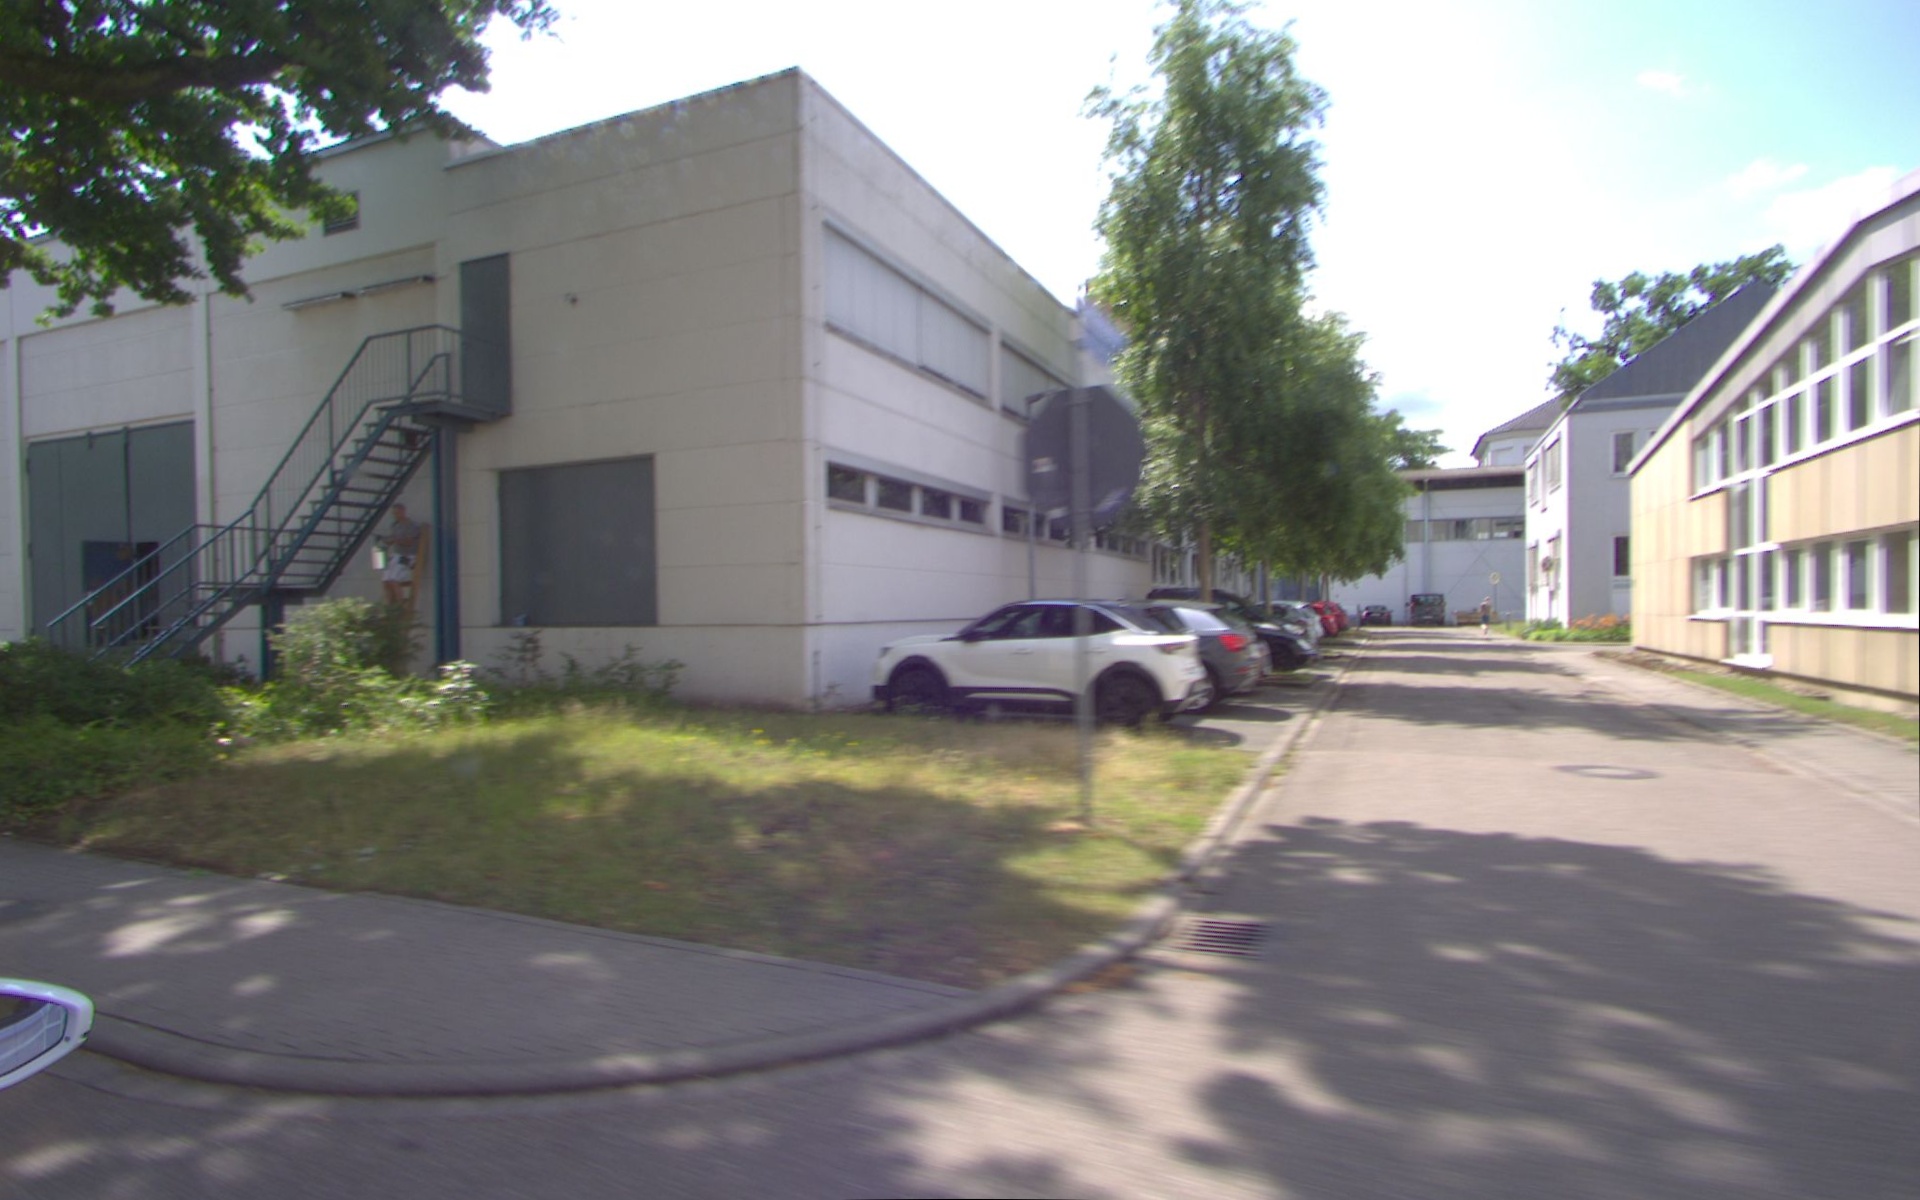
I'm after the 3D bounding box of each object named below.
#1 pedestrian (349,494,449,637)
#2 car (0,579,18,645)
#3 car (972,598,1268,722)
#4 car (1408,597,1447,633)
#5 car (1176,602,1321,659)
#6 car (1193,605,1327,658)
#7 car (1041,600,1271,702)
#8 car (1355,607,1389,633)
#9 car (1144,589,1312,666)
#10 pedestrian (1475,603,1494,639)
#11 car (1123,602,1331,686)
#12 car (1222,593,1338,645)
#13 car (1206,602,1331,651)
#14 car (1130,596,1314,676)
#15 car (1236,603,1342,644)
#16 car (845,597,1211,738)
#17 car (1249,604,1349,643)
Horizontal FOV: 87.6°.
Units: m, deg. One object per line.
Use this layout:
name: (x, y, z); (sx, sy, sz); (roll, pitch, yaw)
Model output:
pedestrian: (-8.357, -0.489, 14.930); (0.934, 2.040, 0.926); (0, 0, 27)
car: (-31.639, 0.375, 29.817); (2.028, 2.040, 4.826); (-1, -1, 24)
car: (2.339, 0.811, 14.592); (3.934, 1.599, 1.825); (-1, 0, 24)
car: (27.500, 0.864, 59.014); (1.799, 2.038, 3.989); (2, 1, 22)
car: (8.645, 0.880, 29.988); (3.933, 1.513, 1.825); (2, 1, 24)
car: (9.733, 0.994, 32.511); (3.933, 1.513, 1.825); (2, 1, 24)
car: (3.301, 0.818, 16.769); (3.561, 1.573, 1.627); (-1, -1, 20)
car: (24.997, 1.184, 60.818); (1.799, 1.450, 3.990); (2, 0, 22)
car: (6.963, 0.701, 25.989); (3.936, 1.852, 1.993); (-1, -1, 26)
pedestrian: (24.203, 0.967, 46.212); (0.718, 1.680, 0.828); (-1, 0, 30)
car: (5.579, 0.852, 20.900); (3.933, 1.494, 1.825); (2, 1, 24)
car: (11.871, 0.731, 37.157); (3.934, 1.843, 1.825); (-1, -1, 24)
car: (10.719, 0.891, 34.760); (3.933, 1.513, 1.825); (2, 1, 24)
car: (6.211, 0.803, 23.699); (3.933, 1.660, 1.825); (2, 1, 24)
car: (13.497, 0.924, 41.062); (3.933, 1.513, 1.825); (2, 1, 24)
car: (0.818, 0.754, 12.123); (4.111, 1.496, 1.668); (-1, -1, 23)
car: (14.754, 1.006, 43.583); (3.933, 1.513, 1.825); (2, 1, 24)
